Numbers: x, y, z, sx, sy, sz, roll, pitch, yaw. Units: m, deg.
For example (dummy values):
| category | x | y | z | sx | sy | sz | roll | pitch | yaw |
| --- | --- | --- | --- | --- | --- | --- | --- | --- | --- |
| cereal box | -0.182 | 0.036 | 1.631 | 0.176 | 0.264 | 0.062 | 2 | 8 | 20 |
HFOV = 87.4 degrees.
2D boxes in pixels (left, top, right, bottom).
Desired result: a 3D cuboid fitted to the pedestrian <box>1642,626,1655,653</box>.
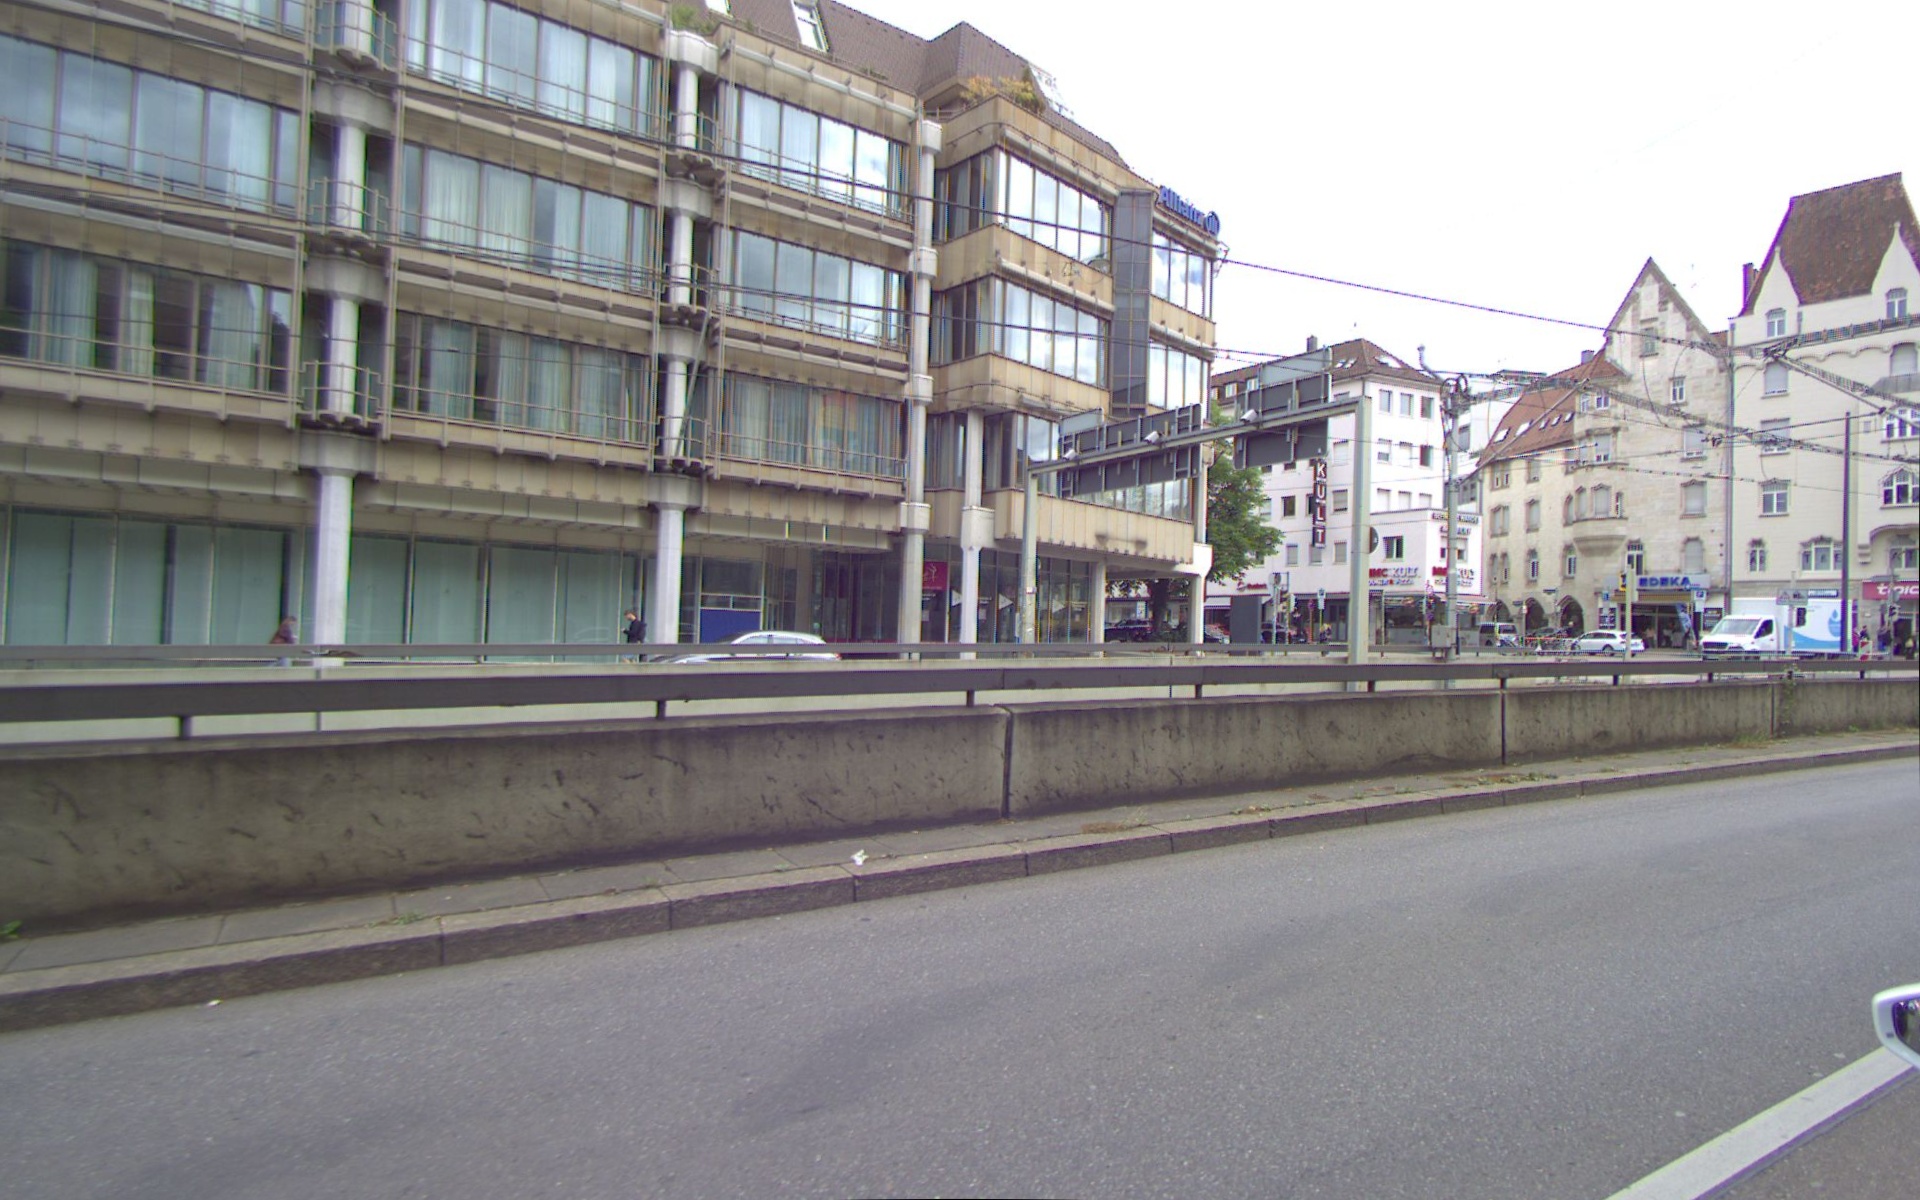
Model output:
| category | x | y | z | sx | sy | sz | roll | pitch | yaw |
| --- | --- | --- | --- | --- | --- | --- | --- | --- | --- |
| pedestrian | 46.044 | 2.643 | 67.164 | 0.565 | 1.803 | 0.512 | 1 | -1 | 15 |

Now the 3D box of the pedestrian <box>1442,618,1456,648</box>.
| category | x | y | z | sx | sy | sz | roll | pitch | yaw |
| --- | --- | --- | --- | --- | --- | --- | --- | --- | --- |
| pedestrian | 29.792 | 1.992 | 61.208 | 0.588 | 1.803 | 0.510 | 1 | -1 | -14 |

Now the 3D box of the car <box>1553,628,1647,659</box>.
| category | x | y | z | sx | sy | sz | roll | pitch | yaw |
| --- | --- | --- | --- | --- | --- | --- | --- | --- | --- |
| car | 37.622 | 2.545 | 59.173 | 1.728 | 1.581 | 4.493 | 2 | 0 | -20 |

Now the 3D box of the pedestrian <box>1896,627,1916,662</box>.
| category | x | y | z | sx | sy | sz | roll | pitch | yaw |
| --- | --- | --- | --- | --- | --- | --- | --- | --- | --- |
| pedestrian | 49.360 | 2.321 | 52.423 | 0.567 | 1.803 | 0.510 | 1 | -1 | -11 |

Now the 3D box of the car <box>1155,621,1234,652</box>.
| category | x | y | z | sx | sy | sz | roll | pitch | yaw |
| --- | --- | --- | --- | --- | --- | --- | --- | --- | --- |
| car | 13.196 | 2.027 | 56.667 | 1.936 | 1.550 | 3.952 | 2 | 0 | -41 |

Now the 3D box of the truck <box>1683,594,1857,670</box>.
| category | x | y | z | sx | sy | sz | roll | pitch | yaw |
| --- | --- | --- | --- | --- | --- | --- | --- | --- | --- |
| truck | 35.949 | 1.428 | 44.560 | 7.255 | 3.117 | 2.266 | 2 | 0 | -17 |

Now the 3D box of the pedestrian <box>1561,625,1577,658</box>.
| category | x | y | z | sx | sy | sz | roll | pitch | yaw |
| --- | --- | --- | --- | --- | --- | --- | --- | --- | --- |
| pedestrian | 33.736 | 2.314 | 55.632 | 0.567 | 1.803 | 0.510 | 1 | -1 | -14 |

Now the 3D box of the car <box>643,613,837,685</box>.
| category | x | y | z | sx | sy | sz | roll | pitch | yaw |
| --- | --- | --- | --- | --- | --- | --- | --- | --- | --- |
| car | -4.981 | 1.083 | 22.899 | 3.996 | 1.521 | 1.656 | 1 | -1 | -31 |

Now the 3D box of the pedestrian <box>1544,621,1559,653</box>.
| category | x | y | z | sx | sy | sz | roll | pitch | yaw |
| --- | --- | --- | --- | --- | --- | --- | --- | --- | --- |
| pedestrian | 33.752 | 2.086 | 57.308 | 0.501 | 1.803 | 0.577 | 1 | -1 | 1 |

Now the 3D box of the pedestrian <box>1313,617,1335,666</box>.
| category | x | y | z | sx | sy | sz | roll | pitch | yaw |
| --- | --- | --- | --- | --- | --- | --- | --- | --- | --- |
| pedestrian | 13.785 | 1.570 | 38.032 | 0.569 | 1.803 | 0.508 | 1 | -1 | -24 |

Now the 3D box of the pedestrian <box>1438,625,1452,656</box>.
| category | x | y | z | sx | sy | sz | roll | pitch | yaw |
| --- | --- | --- | --- | --- | --- | --- | --- | --- | --- |
| pedestrian | 28.681 | 2.394 | 59.377 | 0.567 | 1.803 | 0.510 | 1 | -1 | -14 |

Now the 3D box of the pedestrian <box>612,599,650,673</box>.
| category | x | y | z | sx | sy | sz | roll | pitch | yaw |
| --- | --- | --- | --- | --- | --- | --- | --- | --- | --- |
| pedestrian | -8.372 | 0.906 | 25.559 | 0.731 | 1.835 | 0.727 | 2 | 0 | -31 |

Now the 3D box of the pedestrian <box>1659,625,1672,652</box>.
| category | x | y | z | sx | sy | sz | roll | pitch | yaw |
| --- | --- | --- | --- | --- | --- | --- | --- | --- | --- |
| pedestrian | 46.678 | 2.541 | 66.448 | 0.507 | 1.803 | 0.570 | 1 | -1 | -39 |

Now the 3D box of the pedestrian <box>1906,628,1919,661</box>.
| category | x | y | z | sx | sy | sz | roll | pitch | yaw |
| --- | --- | --- | --- | --- | --- | --- | --- | --- | --- |
| pedestrian | 50.882 | 2.361 | 53.321 | 0.678 | 1.699 | 0.675 | 1 | -1 | -8 |

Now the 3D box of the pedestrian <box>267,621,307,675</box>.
| category | x | y | z | sx | sy | sz | roll | pitch | yaw |
| --- | --- | --- | --- | --- | --- | --- | --- | --- | --- |
| pedestrian | -16.428 | 1.159 | 24.532 | 0.731 | 1.282 | 0.727 | 2 | 0 | -31 |

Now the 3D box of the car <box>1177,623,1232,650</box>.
| category | x | y | z | sx | sy | sz | roll | pitch | yaw |
| --- | --- | --- | --- | --- | --- | --- | --- | --- | --- |
| car | 16.921 | 2.524 | 69.566 | 1.631 | 1.734 | 3.619 | 1 | -1 | -31 |

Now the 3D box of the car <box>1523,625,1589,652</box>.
| category | x | y | z | sx | sy | sz | roll | pitch | yaw |
| --- | --- | --- | --- | --- | --- | --- | --- | --- | --- |
| car | 39.123 | 2.538 | 66.055 | 1.608 | 1.706 | 3.776 | 1 | -3 | -11 |

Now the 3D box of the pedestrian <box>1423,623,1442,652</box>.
| category | x | y | z | sx | sy | sz | roll | pitch | yaw |
| --- | --- | --- | --- | --- | --- | --- | --- | --- | --- |
| pedestrian | 27.993 | 2.217 | 59.458 | 0.643 | 1.728 | 0.781 | 1 | -1 | -20 |

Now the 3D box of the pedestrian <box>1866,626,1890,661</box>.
| category | x | y | z | sx | sy | sz | roll | pitch | yaw |
| --- | --- | --- | --- | --- | --- | --- | --- | --- | --- |
| pedestrian | 48.468 | 2.278 | 53.017 | 0.585 | 1.803 | 0.710 | 1 | -1 | -10 |

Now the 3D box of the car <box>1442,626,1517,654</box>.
| category | x | y | z | sx | sy | sz | roll | pitch | yaw |
| --- | --- | --- | --- | --- | --- | --- | --- | --- | --- |
| car | 34.008 | 2.597 | 65.893 | 1.726 | 1.581 | 4.498 | 2 | 0 | -16 |

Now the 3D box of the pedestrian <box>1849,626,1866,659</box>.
| category | x | y | z | sx | sy | sz | roll | pitch | yaw |
| --- | --- | --- | --- | --- | --- | --- | --- | --- | --- |
| pedestrian | 48.725 | 2.293 | 54.518 | 0.569 | 1.803 | 0.508 | 1 | -1 | -24 |

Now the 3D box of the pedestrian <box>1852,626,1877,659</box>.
| category | x | y | z | sx | sy | sz | roll | pitch | yaw |
| --- | --- | --- | --- | --- | --- | --- | --- | --- | --- |
| pedestrian | 49.385 | 2.310 | 54.867 | 0.654 | 1.803 | 0.791 | 1 | -1 | 5 |
